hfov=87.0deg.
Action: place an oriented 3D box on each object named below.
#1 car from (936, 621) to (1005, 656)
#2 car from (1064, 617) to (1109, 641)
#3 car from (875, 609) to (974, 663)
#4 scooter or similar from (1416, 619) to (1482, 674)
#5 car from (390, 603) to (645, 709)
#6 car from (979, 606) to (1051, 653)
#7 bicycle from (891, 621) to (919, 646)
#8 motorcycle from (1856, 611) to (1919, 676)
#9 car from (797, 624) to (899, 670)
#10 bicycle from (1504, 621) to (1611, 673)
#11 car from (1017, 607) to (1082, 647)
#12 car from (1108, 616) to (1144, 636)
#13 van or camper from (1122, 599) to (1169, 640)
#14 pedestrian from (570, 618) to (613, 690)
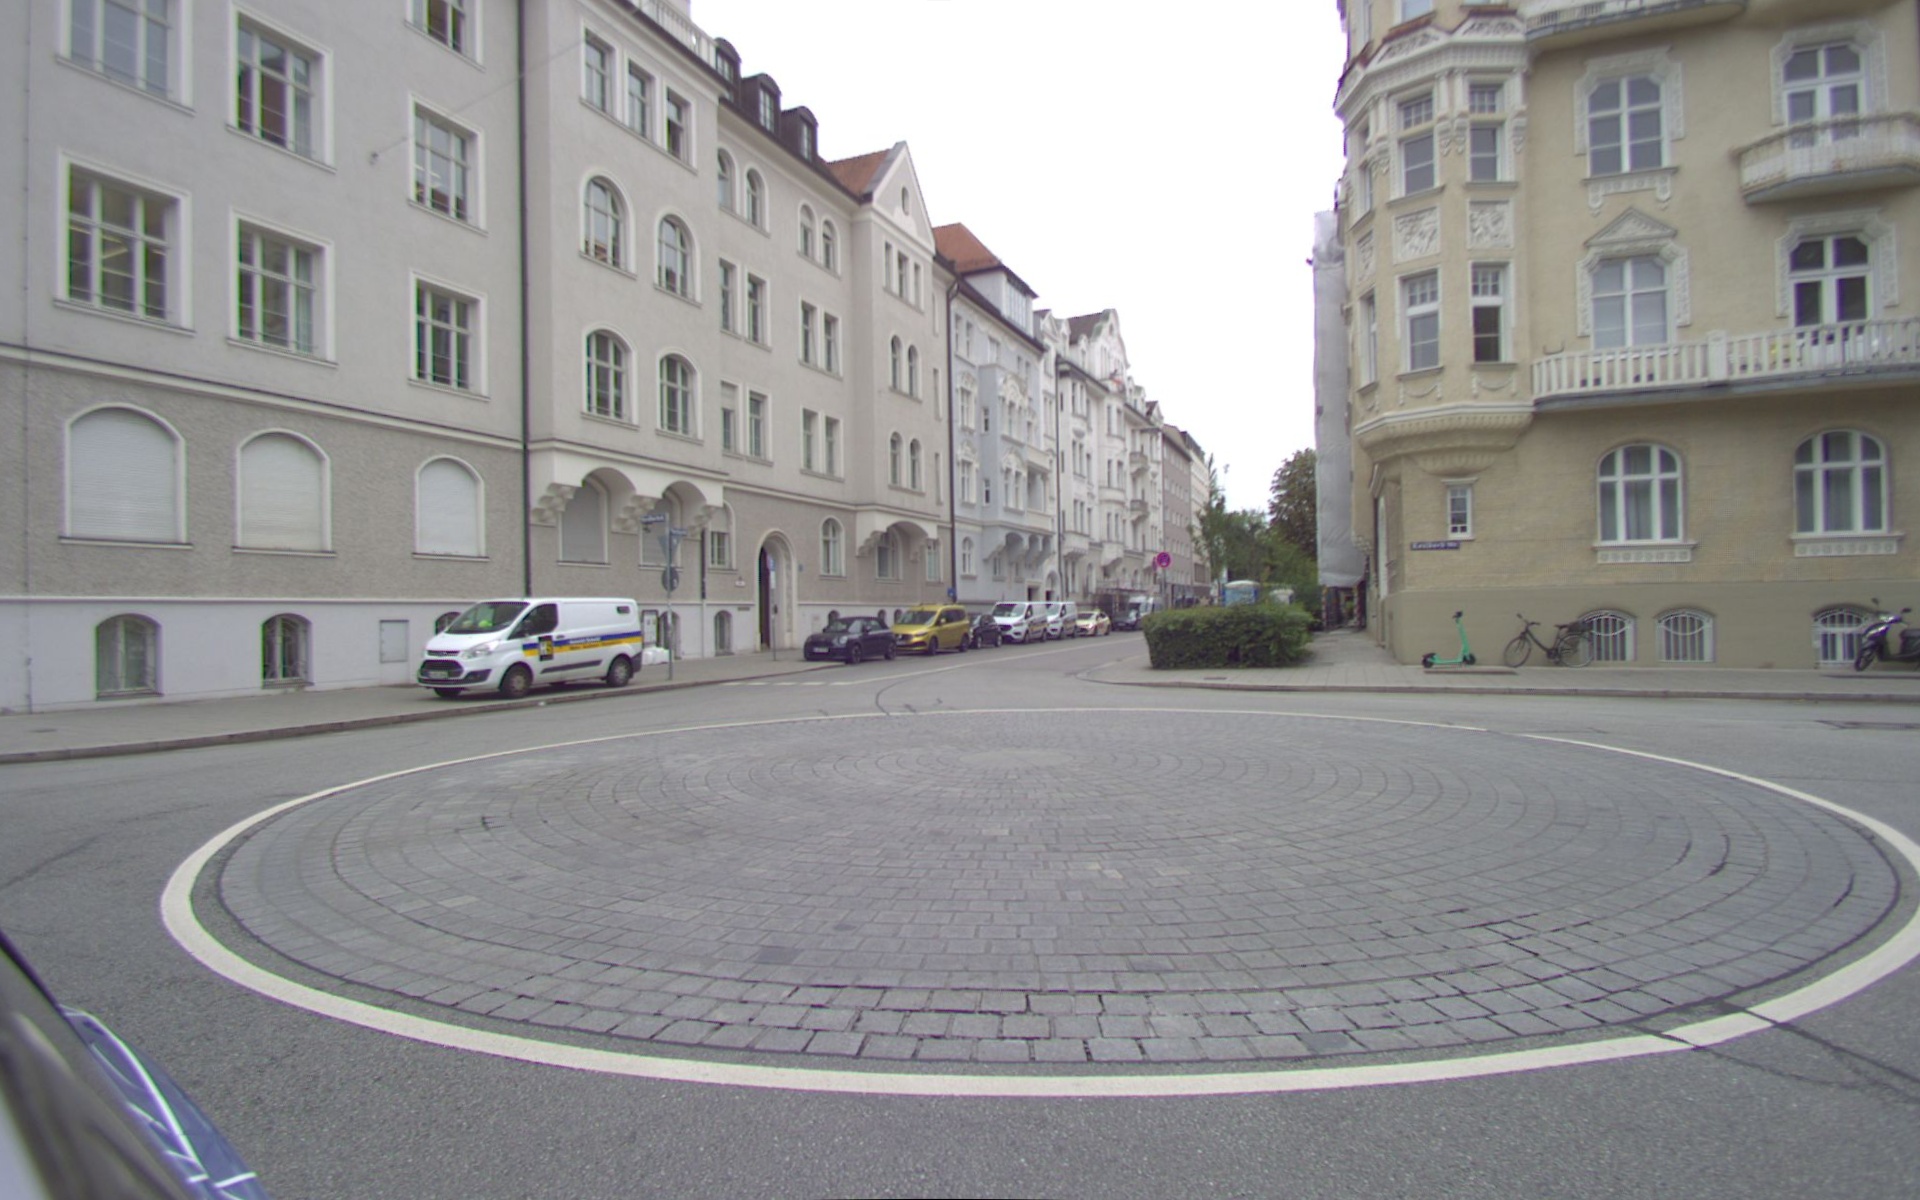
[{"bbox_3d":[0.493,1.574,41.903,1.686,1.356,3.512,-1,-2,22],"label":"car"},{"bbox_3d":[7.327,1.656,58.304,1.686,1.356,3.512,-1,-2,22],"label":"car"},{"bbox_3d":[-1.238,1.309,37.166,2.016,1.852,4.100,-2,-2,25],"label":"car"},{"bbox_3d":[10.454,0.987,21.625,1.195,1.124,0.469,-1,-1,-11],"label":"scooter or similar"},{"bbox_3d":[-8.843,1.042,20.763,1.912,1.895,4.875,-1,-1,21],"label":"car"},{"bbox_3d":[2.644,1.375,47.534,2.108,2.108,4.790,-1,-2,20],"label":"car"},{"bbox_3d":[-2.493,1.523,46.253,0.489,1.057,1.815,-2,-1,24],"label":"bicycle"},{"bbox_3d":[17.891,0.801,18.741,1.817,1.185,0.596,-2,-1,21],"label":"motorcycle"},{"bbox_3d":[-3.506,1.456,32.282,1.687,1.356,3.651,-1,-2,23],"label":"car"},{"bbox_3d":[12.428,0.984,21.092,1.817,1.057,0.561,-2,-1,21],"label":"bicycle"},{"bbox_3d":[4.751,1.419,53.232,2.110,2.009,4.787,-1,-2,22],"label":"car"},{"bbox_3d":[11.579,1.794,70.313,1.687,1.356,3.511,-1,-2,23],"label":"car"},{"bbox_3d":[14.030,1.435,76.258,1.988,2.935,6.385,-1,0,24],"label":"van or camper"},{"bbox_3d":[-8.684,1.251,23.847,0.841,1.648,0.735,-1,-1,-11],"label":"pedestrian"}]
